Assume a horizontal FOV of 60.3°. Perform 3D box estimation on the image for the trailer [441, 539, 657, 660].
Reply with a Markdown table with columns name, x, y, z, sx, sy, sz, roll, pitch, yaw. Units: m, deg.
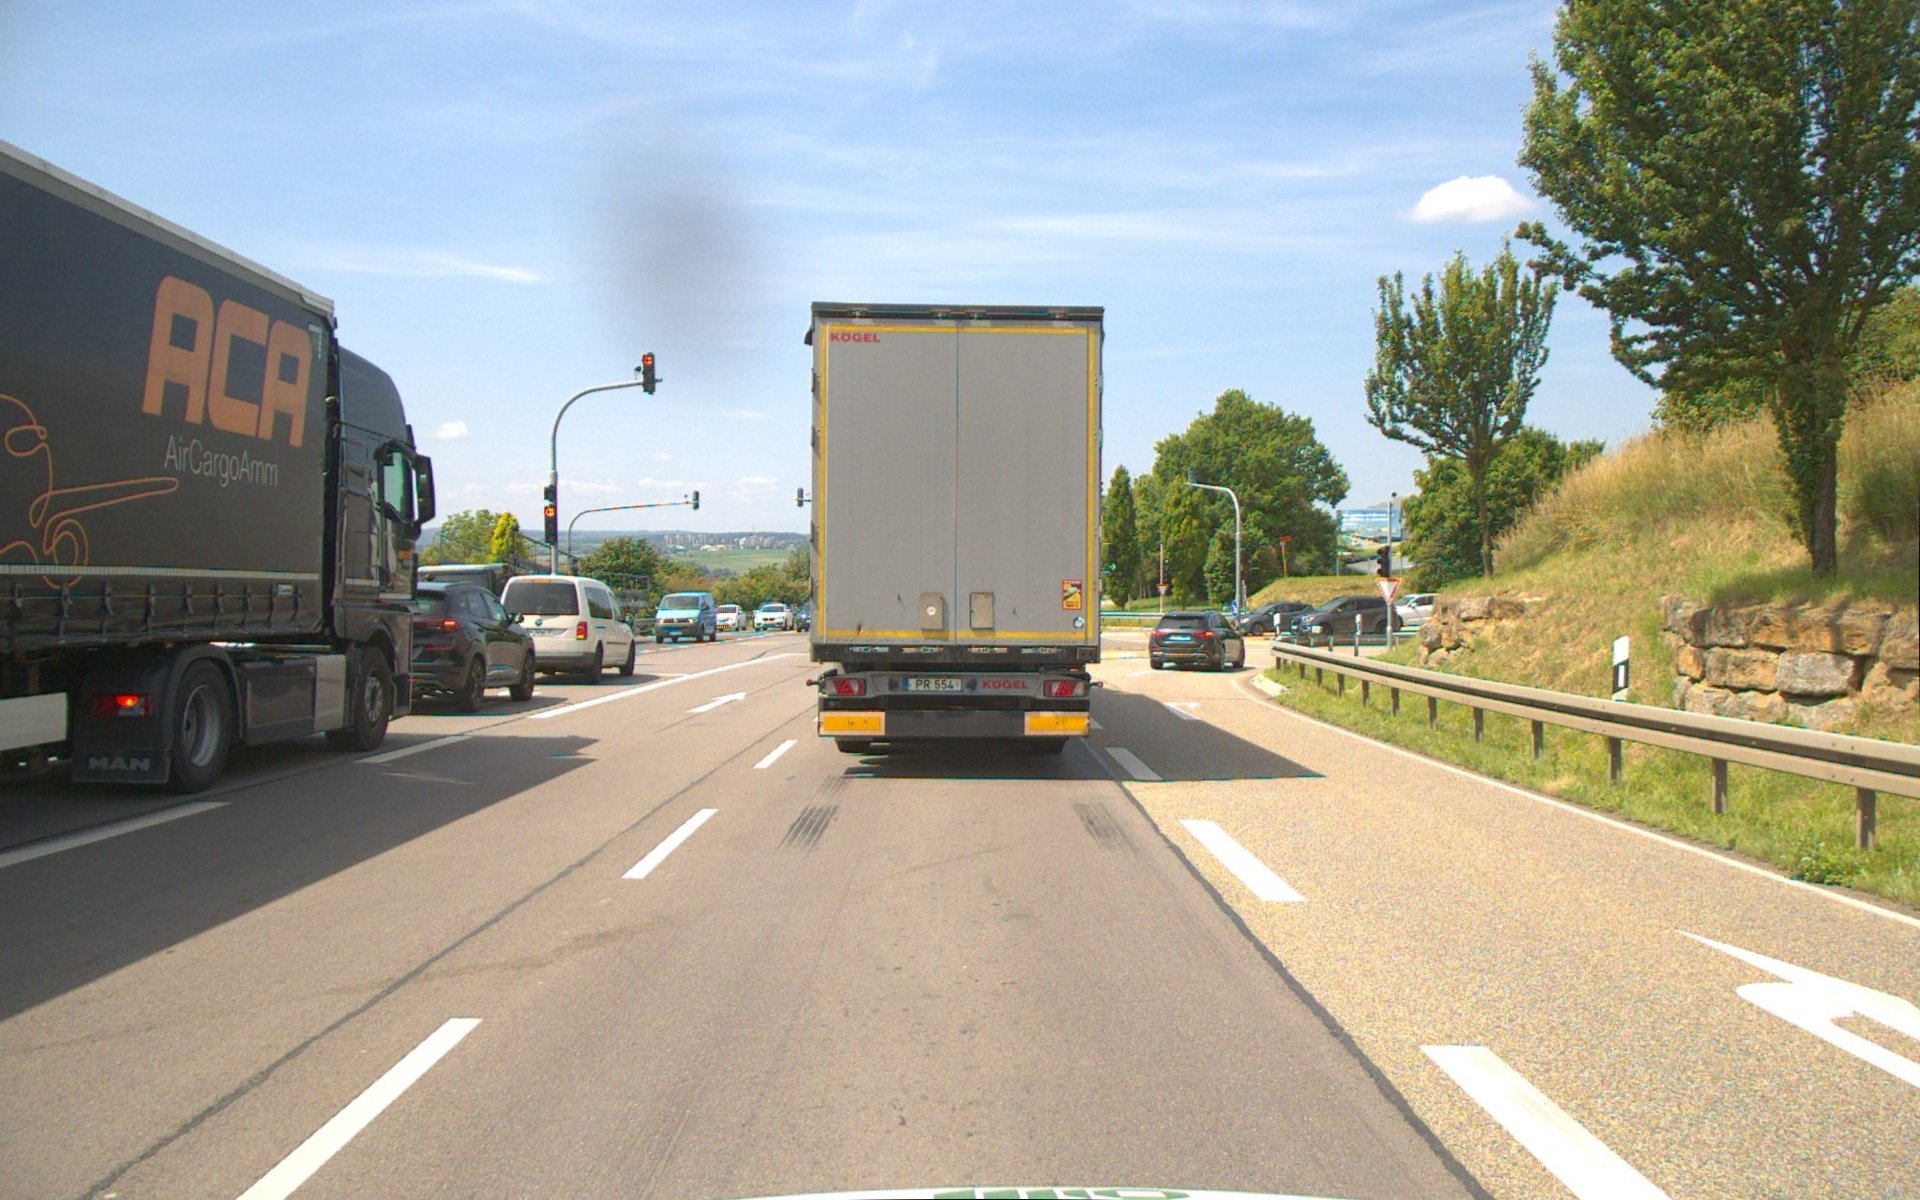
| name | x | y | z | sx | sy | sz | roll | pitch | yaw |
| --- | --- | --- | --- | --- | --- | --- | --- | --- | --- |
| trailer | -14.911 | 0.087 | 62.598 | 2.584 | 3.829 | 19.802 | 0 | -1 | 2 |

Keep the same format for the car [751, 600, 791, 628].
| name | x | y | z | sx | sy | sz | roll | pitch | yaw |
| --- | --- | --- | --- | --- | --- | --- | --- | --- | --- |
| car | -10.437 | 0.783 | 91.758 | 1.736 | 1.459 | 4.000 | -1 | -1 | 0 |

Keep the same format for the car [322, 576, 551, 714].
| name | x | y | z | sx | sy | sz | roll | pitch | yaw |
| --- | --- | --- | --- | --- | --- | --- | --- | --- | --- |
| car | -7.019 | 0.560 | 22.651 | 1.818 | 1.686 | 4.347 | 1 | 0 | -1 |

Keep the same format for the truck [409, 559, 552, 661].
| name | x | y | z | sx | sy | sz | roll | pitch | yaw |
| --- | --- | --- | --- | --- | --- | --- | --- | --- | --- |
| truck | -15.202 | 0.340 | 52.871 | 2.742 | 3.066 | 5.989 | 0 | -1 | 1 |

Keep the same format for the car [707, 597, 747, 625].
| name | x | y | z | sx | sy | sz | roll | pitch | yaw |
| --- | --- | --- | --- | --- | --- | --- | --- | --- | --- |
| car | -13.438 | 0.662 | 95.610 | 1.610 | 1.523 | 3.802 | -2 | -1 | 2 |

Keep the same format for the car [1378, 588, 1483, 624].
| name | x | y | z | sx | sy | sz | roll | pitch | yaw |
| --- | --- | --- | --- | --- | --- | --- | --- | --- | --- |
| car | 21.481 | 0.290 | 75.534 | 4.277 | 1.620 | 1.776 | 0 | -1 | -9 |

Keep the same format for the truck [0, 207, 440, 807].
| name | x | y | z | sx | sy | sz | roll | pitch | yaw |
| --- | --- | --- | --- | --- | --- | --- | --- | --- | --- |
| truck | -6.798 | -0.639 | 14.279 | 2.726 | 4.083 | 5.970 | 1 | 0 | -1 |

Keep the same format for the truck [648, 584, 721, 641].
| name | x | y | z | sx | sy | sz | roll | pitch | yaw |
| --- | --- | --- | --- | --- | --- | --- | --- | --- | --- |
| truck | -11.135 | 0.525 | 67.212 | 1.925 | 2.195 | 4.625 | -1 | -1 | 4 |

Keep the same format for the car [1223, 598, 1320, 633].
| name | x | y | z | sx | sy | sz | roll | pitch | yaw |
| --- | --- | --- | --- | --- | --- | --- | --- | --- | --- |
| car | 13.852 | 0.700 | 73.633 | 3.913 | 1.537 | 1.713 | 0 | -1 | -9 |

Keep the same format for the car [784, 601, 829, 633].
| name | x | y | z | sx | sy | sz | roll | pitch | yaw |
| --- | --- | --- | --- | --- | --- | --- | --- | --- | --- |
| car | -7.851 | 0.889 | 84.724 | 1.719 | 1.494 | 4.196 | 3 | -1 | 2 |

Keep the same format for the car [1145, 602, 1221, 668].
| name | x | y | z | sx | sy | sz | roll | pitch | yaw |
| --- | --- | --- | --- | --- | --- | --- | --- | --- | --- |
| car | 5.693 | 0.859 | 41.841 | 1.708 | 1.559 | 4.302 | 1 | -1 | 10 |

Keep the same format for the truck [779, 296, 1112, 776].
| name | x | y | z | sx | sy | sz | roll | pitch | yaw |
| --- | --- | --- | --- | --- | --- | --- | --- | --- | --- |
| truck | -0.232 | -0.507 | 19.609 | 2.742 | 3.998 | 11.338 | 1 | 0 | -1 |

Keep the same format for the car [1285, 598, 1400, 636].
| name | x | y | z | sx | sy | sz | roll | pitch | yaw |
| --- | --- | --- | --- | --- | --- | --- | --- | --- | --- |
| car | 15.578 | 0.684 | 67.453 | 4.280 | 1.537 | 1.711 | 0 | -1 | -12 |

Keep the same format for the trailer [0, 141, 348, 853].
| name | x | y | z | sx | sy | sz | roll | pitch | yaw |
| --- | --- | --- | --- | --- | --- | --- | --- | --- | --- |
| trailer | -6.722 | -0.591 | 7.708 | 2.726 | 3.982 | 13.784 | 1 | 0 | -1 |

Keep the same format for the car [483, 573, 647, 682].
| name | x | y | z | sx | sy | sz | roll | pitch | yaw |
| --- | --- | --- | --- | --- | --- | --- | --- | --- | --- |
| car | -7.172 | 0.464 | 30.509 | 1.731 | 1.830 | 4.753 | 1 | 0 | 2 |
